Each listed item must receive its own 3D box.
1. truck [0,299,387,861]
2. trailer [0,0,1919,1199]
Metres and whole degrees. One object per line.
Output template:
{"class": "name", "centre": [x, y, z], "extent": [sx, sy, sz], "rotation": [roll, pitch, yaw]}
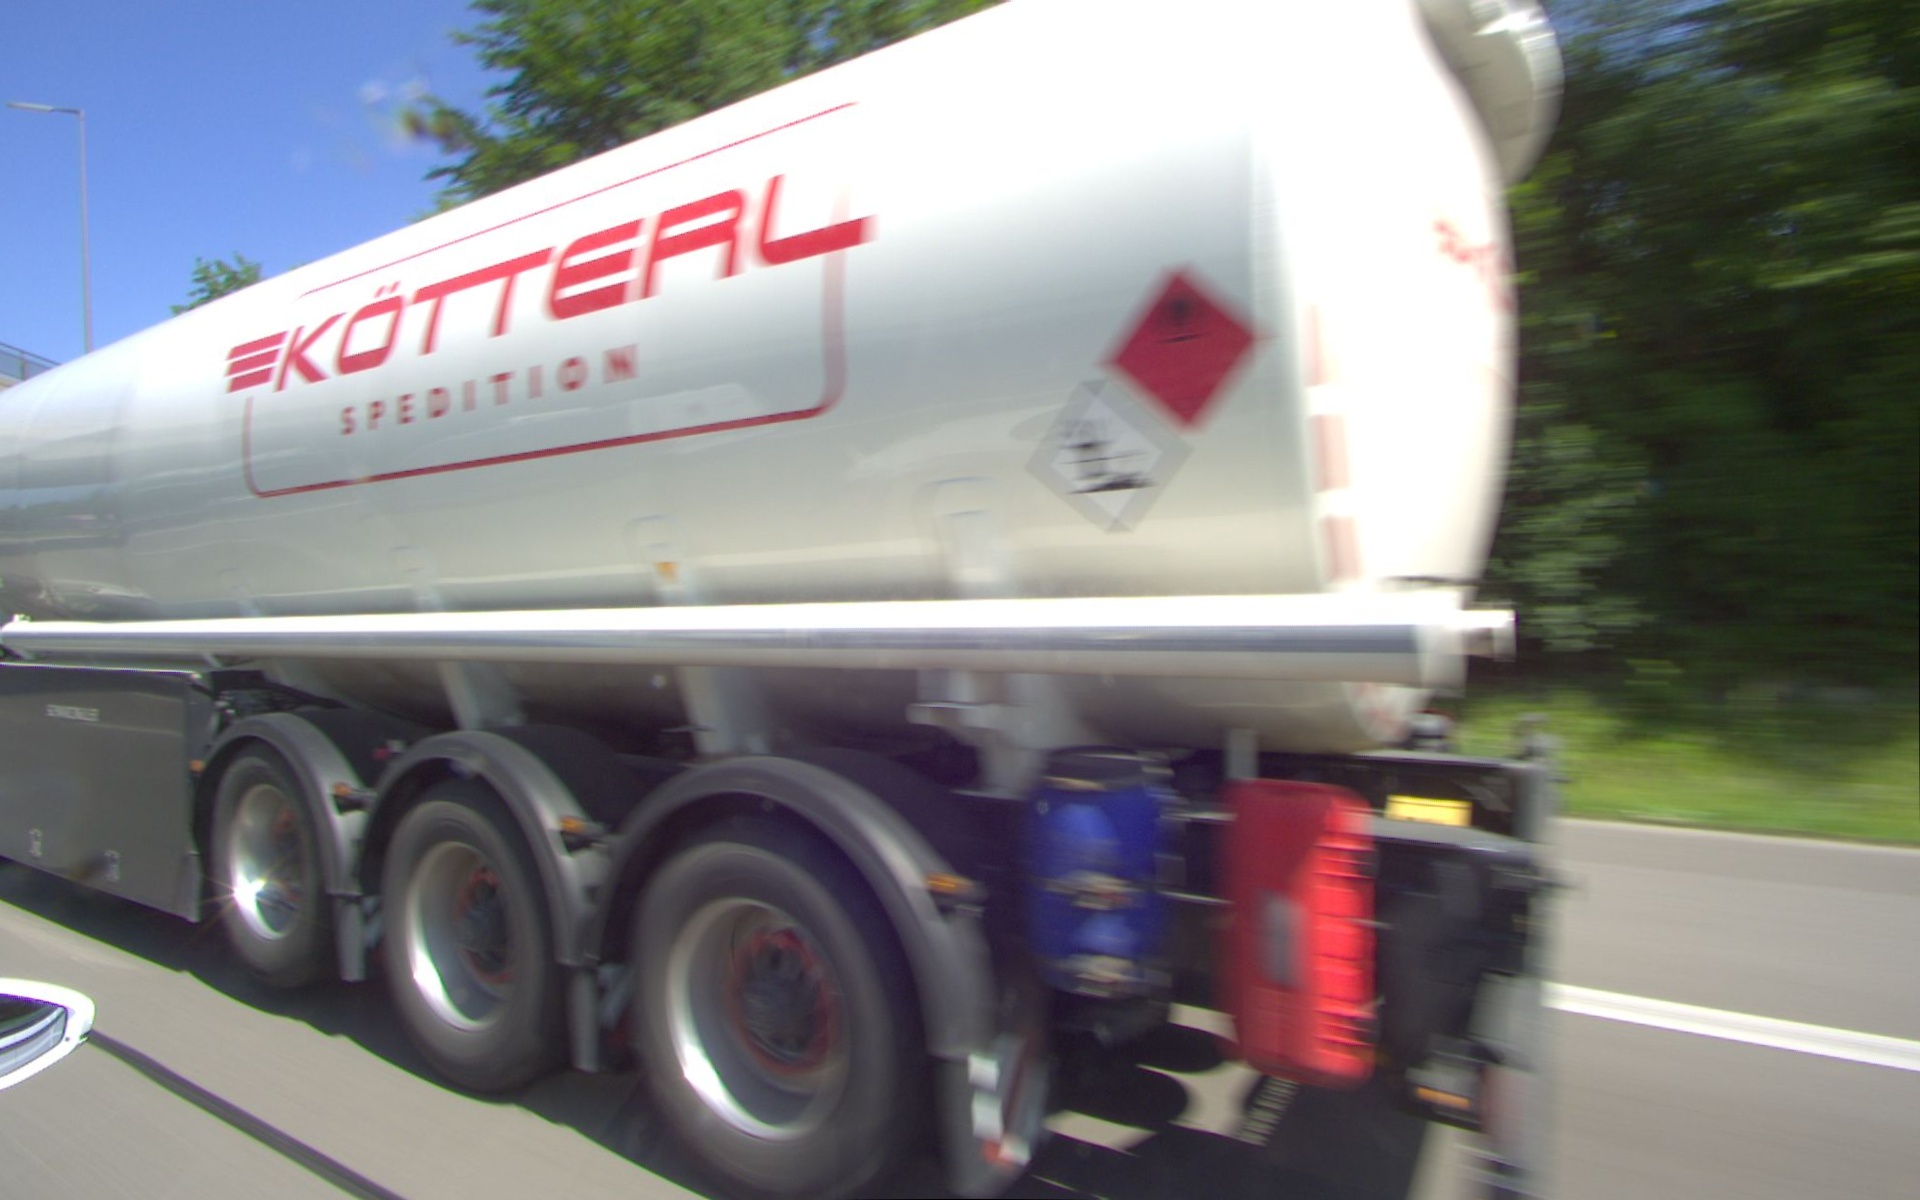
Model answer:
{"class": "truck", "centre": [-7.993, -0.052, 8.663], "extent": [6.395, 3.418, 2.633], "rotation": [-1, -1, 33]}
{"class": "trailer", "centre": [-2.751, -0.155, 5.315], "extent": [10.991, 3.433, 2.644], "rotation": [-1, -1, 32]}
